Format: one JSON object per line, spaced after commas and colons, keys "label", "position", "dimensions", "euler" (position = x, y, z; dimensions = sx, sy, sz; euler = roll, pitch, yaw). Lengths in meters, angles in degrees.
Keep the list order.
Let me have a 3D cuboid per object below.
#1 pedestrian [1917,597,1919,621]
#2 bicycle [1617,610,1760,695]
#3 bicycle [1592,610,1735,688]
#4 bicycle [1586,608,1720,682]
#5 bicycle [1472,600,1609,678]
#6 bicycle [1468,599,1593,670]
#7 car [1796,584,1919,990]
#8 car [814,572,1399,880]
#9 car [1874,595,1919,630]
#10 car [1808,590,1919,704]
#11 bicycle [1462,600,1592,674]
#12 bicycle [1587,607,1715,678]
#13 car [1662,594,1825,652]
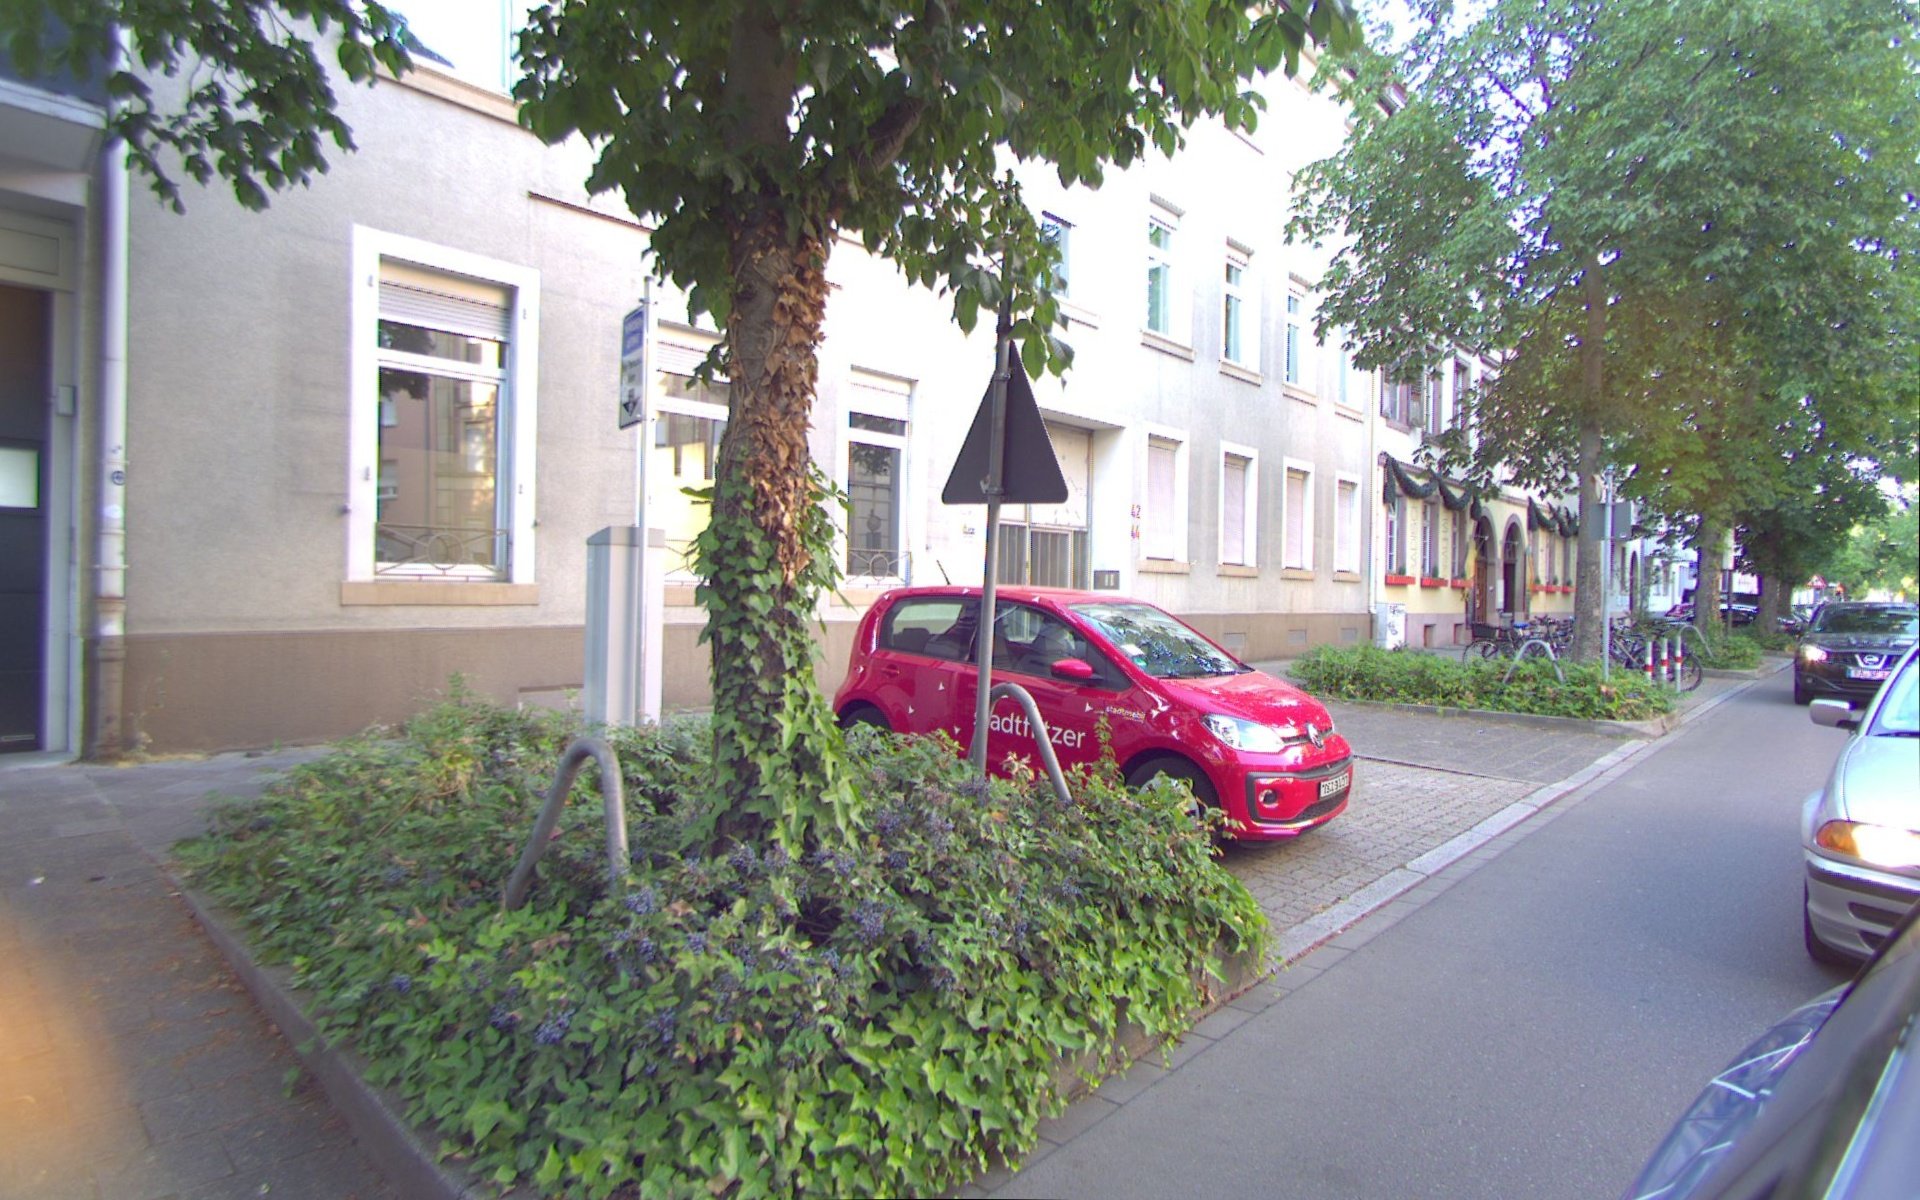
{"label": "pedestrian", "position": [74.610, 0.686, 78.331], "dimensions": [0.708, 1.877, 0.668], "euler": [1, 0, 36]}
{"label": "bicycle", "position": [11.852, 0.827, 16.533], "dimensions": [1.835, 1.242, 0.529], "euler": [2, 1, 33]}
{"label": "bicycle", "position": [12.354, 0.828, 17.819], "dimensions": [2.019, 1.242, 0.528], "euler": [2, 1, 39]}
{"label": "bicycle", "position": [12.989, 0.814, 19.013], "dimensions": [2.019, 1.242, 0.528], "euler": [2, 1, 39]}
{"label": "bicycle", "position": [10.083, 0.654, 17.622], "dimensions": [2.014, 1.242, 0.529], "euler": [2, 1, 33]}
{"label": "bicycle", "position": [10.930, 0.633, 19.426], "dimensions": [2.017, 1.242, 0.529], "euler": [2, 1, 37]}
{"label": "car", "position": [5.435, 0.685, 4.686], "dimensions": [4.358, 1.460, 1.710], "euler": [0, 1, -41]}
{"label": "car", "position": [0.812, 0.585, 6.818], "dimensions": [3.609, 1.495, 1.639], "euler": [2, 1, 42]}
{"label": "car", "position": [44.448, 0.569, 47.757], "dimensions": [1.802, 1.571, 3.937], "euler": [2, 1, 44]}
{"label": "car", "position": [14.497, 0.654, 15.641], "dimensions": [1.802, 1.571, 3.935], "euler": [2, 1, 45]}
{"label": "bicycle", "position": [10.299, 0.645, 18.432], "dimensions": [2.014, 1.242, 0.529], "euler": [2, 1, 33]}
{"label": "bicycle", "position": [13.470, 0.804, 19.766], "dimensions": [2.019, 1.242, 0.528], "euler": [2, 1, 39]}
{"label": "car", "position": [26.612, 0.725, 34.453], "dimensions": [4.232, 1.761, 1.715], "euler": [2, 1, 43]}
